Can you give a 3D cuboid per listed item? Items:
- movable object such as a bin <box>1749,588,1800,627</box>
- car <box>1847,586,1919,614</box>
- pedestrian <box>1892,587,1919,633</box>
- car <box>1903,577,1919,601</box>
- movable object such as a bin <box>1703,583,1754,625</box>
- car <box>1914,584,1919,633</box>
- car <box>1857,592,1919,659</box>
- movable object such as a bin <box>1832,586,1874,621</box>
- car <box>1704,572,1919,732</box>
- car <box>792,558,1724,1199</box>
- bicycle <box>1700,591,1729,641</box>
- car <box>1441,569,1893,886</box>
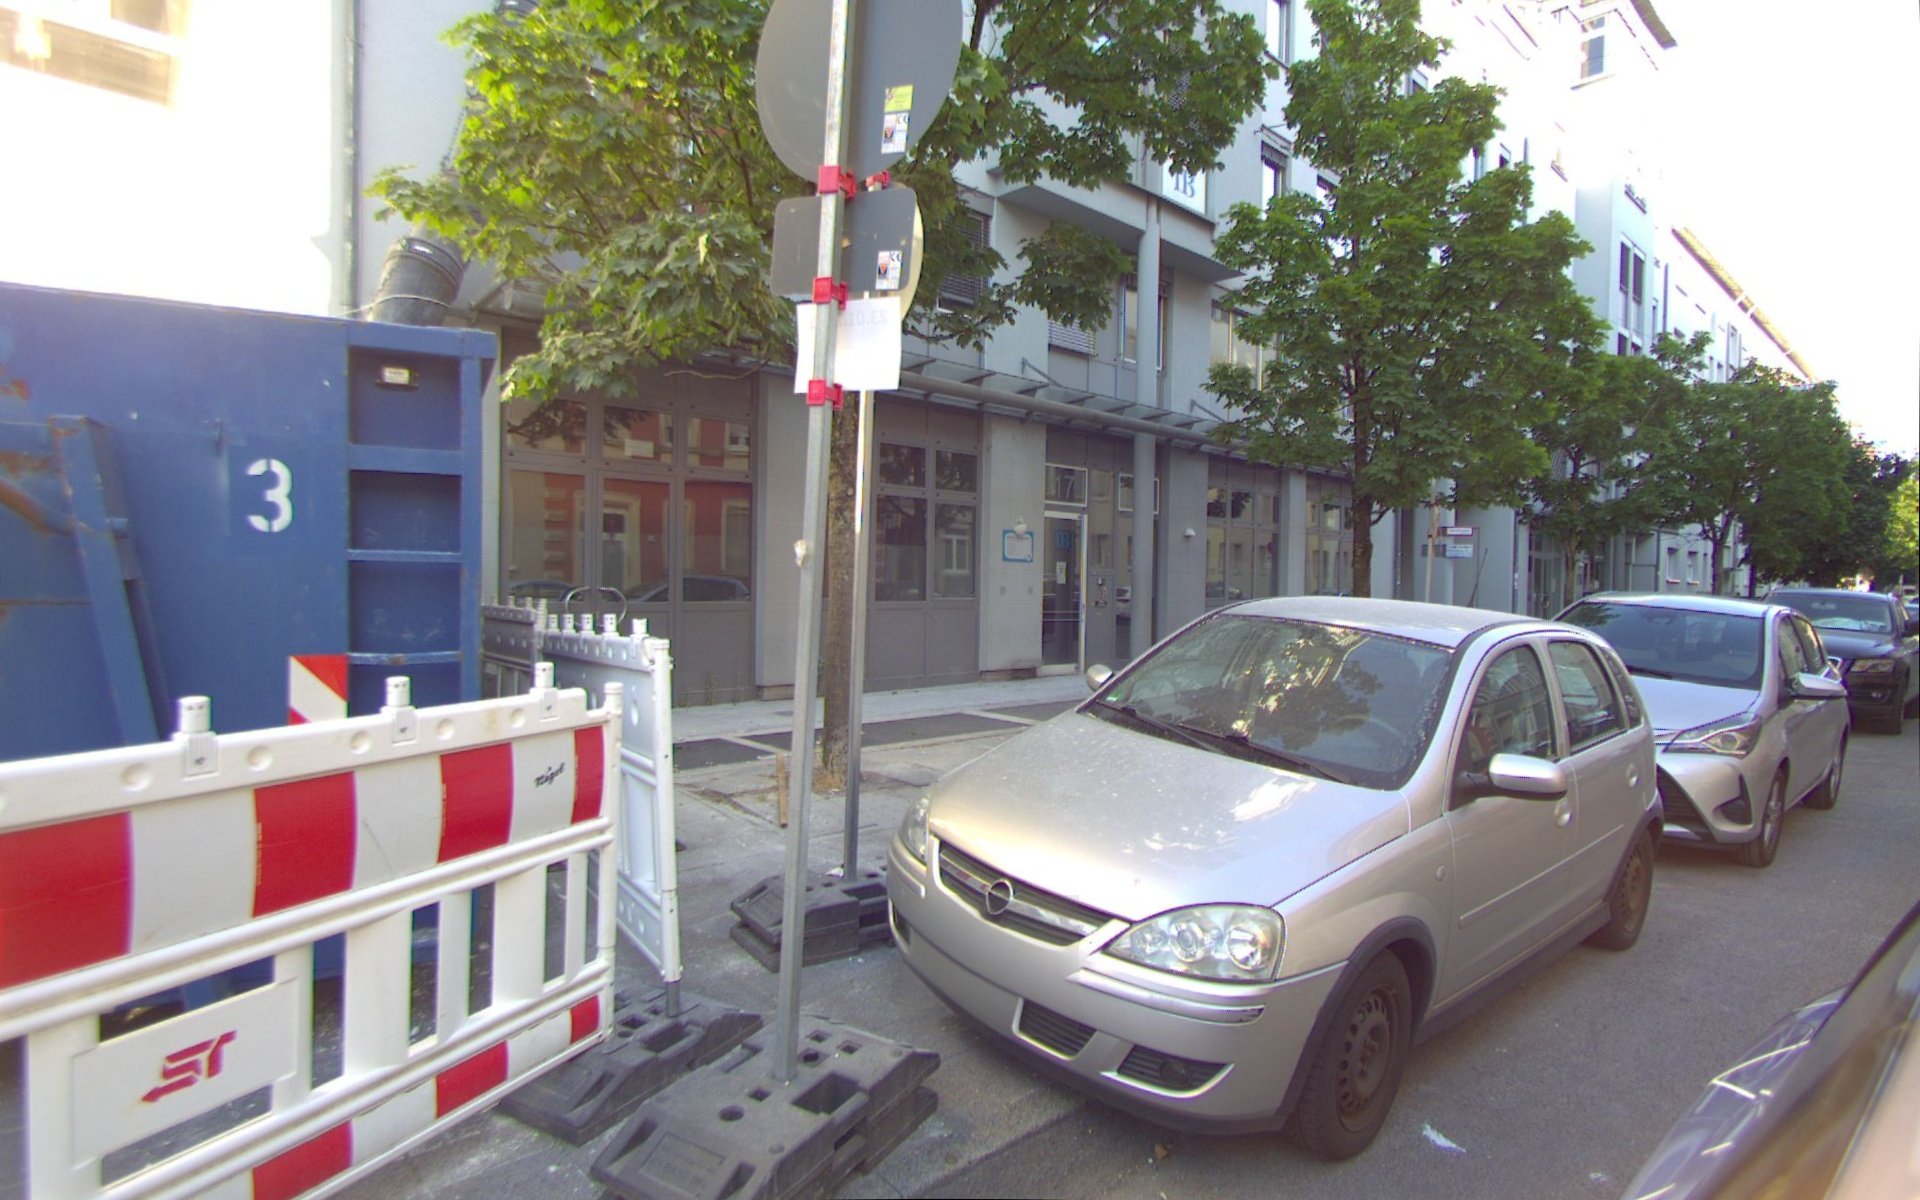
[{"bbox_3d":[29.320,0.259,36.434,1.120,1.337,1.263,0,3,-43],"label":"movable object such as a bin"},{"bbox_3d":[59.957,0.019,65.280,1.968,1.584,3.991,0,4,-45],"label":"car"},{"bbox_3d":[32.228,0.337,34.055,0.787,1.481,0.871,2,2,-2],"label":"pedestrian"},{"bbox_3d":[96.782,-1.093,101.449,2.147,2.311,6.135,3,3,33],"label":"car"},{"bbox_3d":[28.266,0.141,37.228,1.120,1.454,1.263,0,3,-43],"label":"movable object such as a bin"},{"bbox_3d":[34.925,0.330,35.538,4.646,1.655,1.873,-1,4,-45],"label":"car"},{"bbox_3d":[22.994,0.579,24.282,4.272,1.446,1.766,0,3,-43],"label":"car"},{"bbox_3d":[40.207,0.145,45.565,1.202,1.454,1.286,0,3,-43],"label":"movable object such as a bin"},{"bbox_3d":[11.286,0.528,13.074,4.360,1.642,1.888,0,3,-43],"label":"car"},{"bbox_3d":[1.390,0.652,3.902,3.664,1.493,1.680,0,3,-41],"label":"car"},{"bbox_3d":[19.271,0.391,25.875,0.519,1.182,1.718,3,3,36],"label":"bicycle"},{"bbox_3d":[5.058,0.617,7.031,3.902,1.543,1.679,0,3,-42],"label":"car"}]
